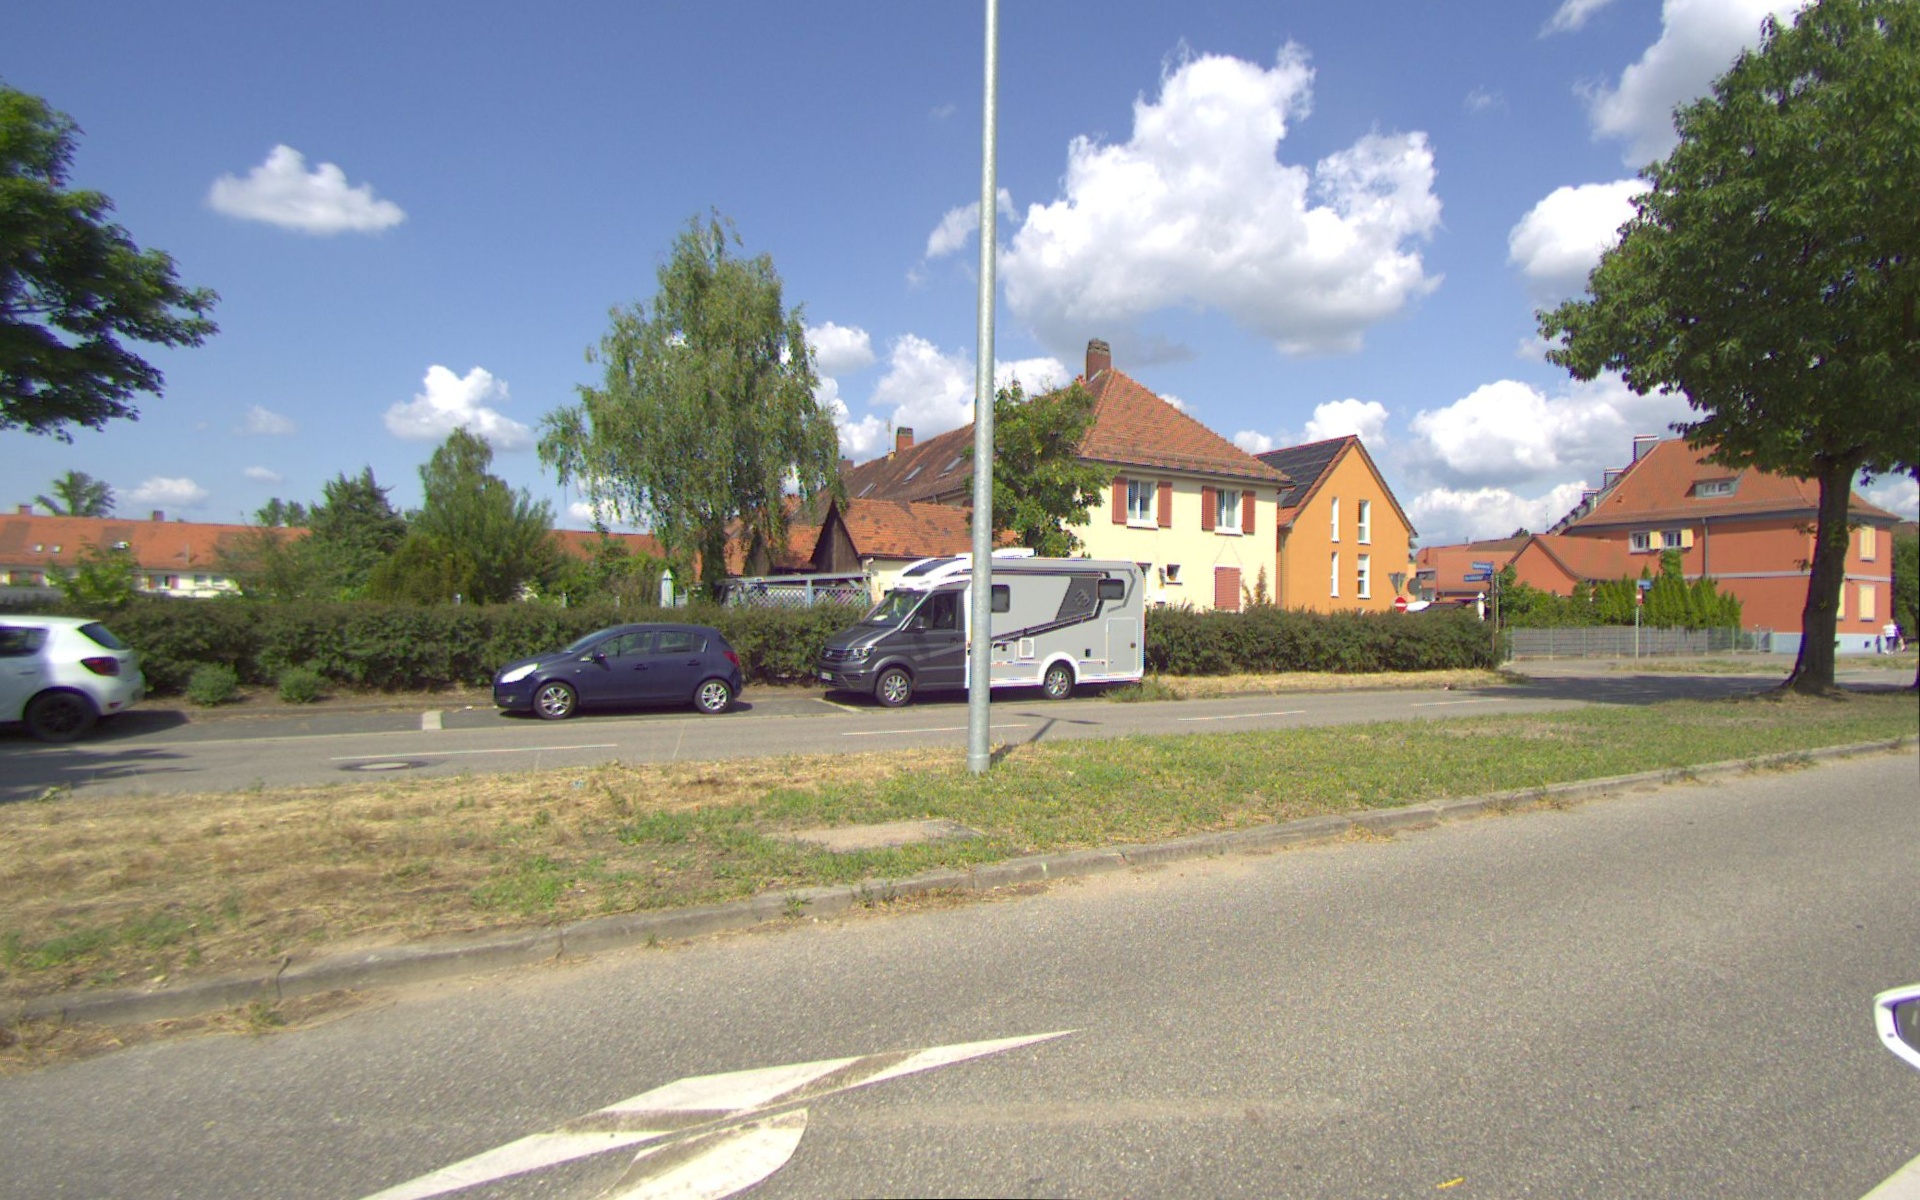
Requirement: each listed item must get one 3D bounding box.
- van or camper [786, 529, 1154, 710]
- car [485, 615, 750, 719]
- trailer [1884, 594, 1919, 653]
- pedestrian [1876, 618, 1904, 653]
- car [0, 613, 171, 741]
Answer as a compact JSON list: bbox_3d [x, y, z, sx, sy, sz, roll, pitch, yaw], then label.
[{"bbox_3d":[0.336,0.359,20.225,7.230,3.154,2.249,1,1,-29],"label":"van or camper"},{"bbox_3d":[-5.677,1.071,16.741,3.944,1.505,1.629,2,0,-29],"label":"car"},{"bbox_3d":[68.765,1.557,66.321,3.572,4.064,11.286,1,-2,-15],"label":"trailer"},{"bbox_3d":[43.304,1.655,46.785,0.841,1.604,0.693,2,1,-29],"label":"pedestrian"},{"bbox_3d":[-12.709,0.934,12.659,4.074,1.505,1.681,2,0,-29],"label":"car"}]
